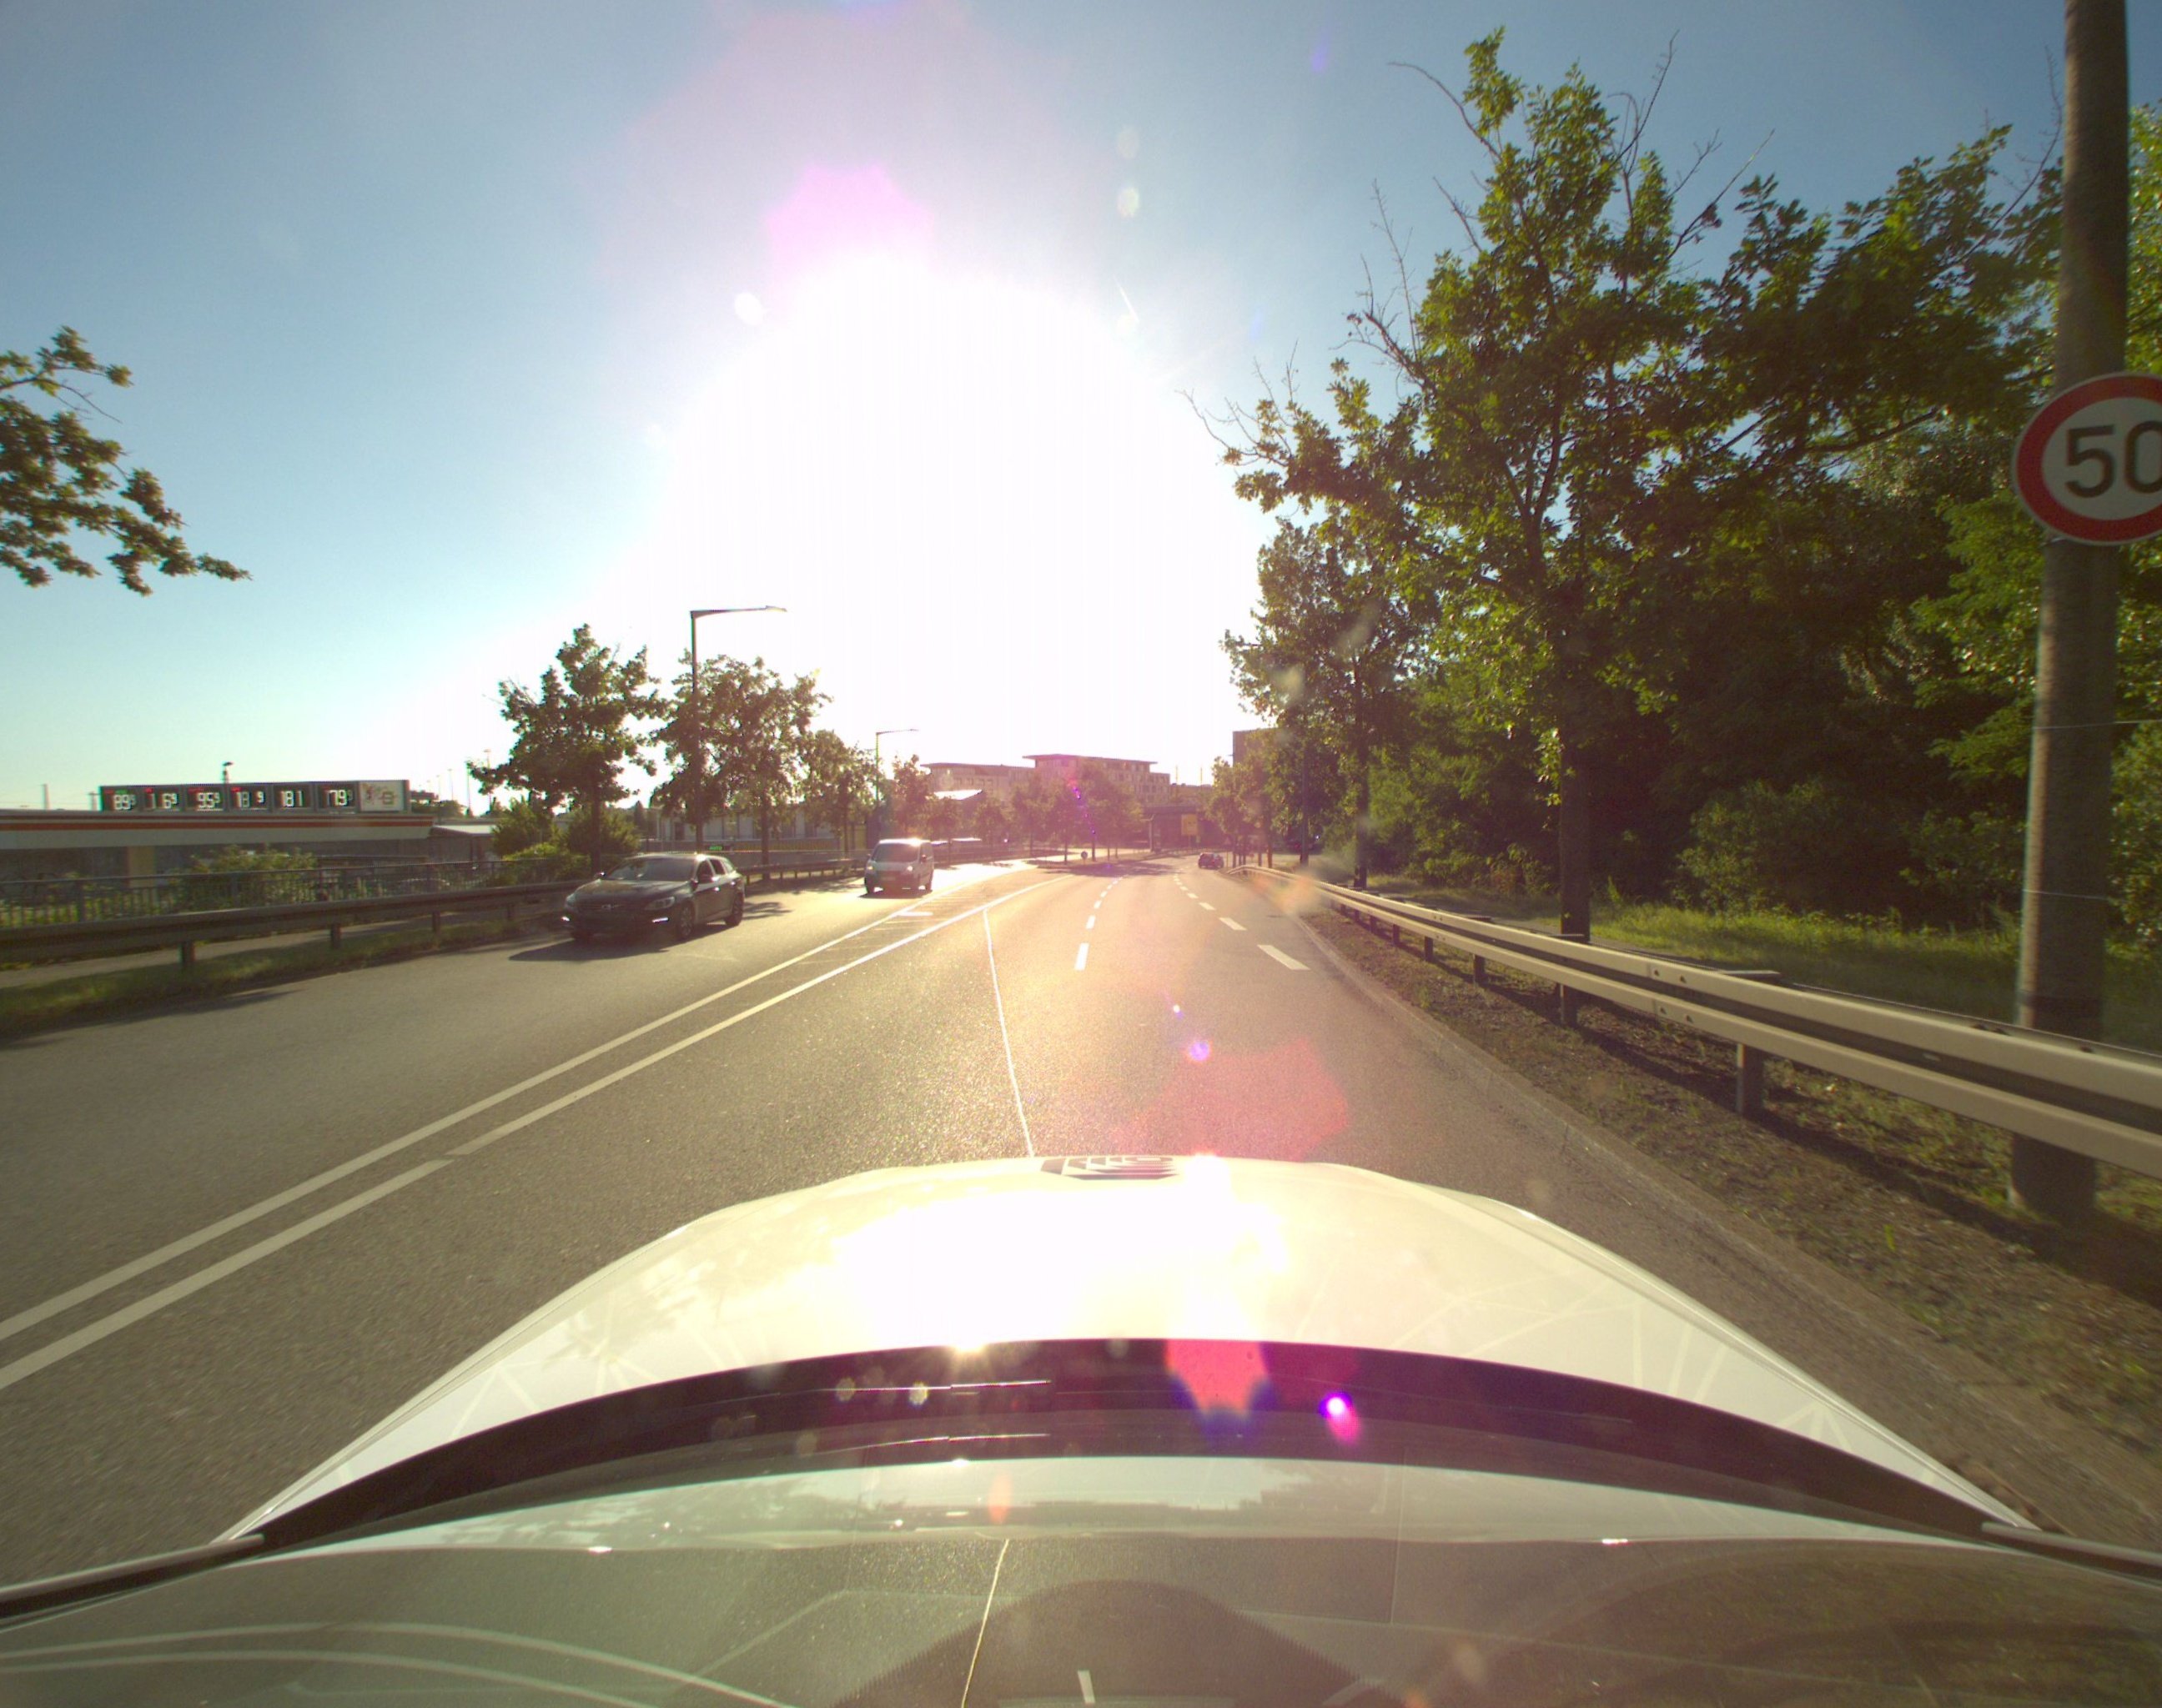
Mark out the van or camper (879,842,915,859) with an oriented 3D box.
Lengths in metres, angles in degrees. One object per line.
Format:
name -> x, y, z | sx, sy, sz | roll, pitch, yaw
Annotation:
van or camper -> -21.152, -0.434, 93.525 | 4.177, 1.925, 2.012 | 0, 0, 44

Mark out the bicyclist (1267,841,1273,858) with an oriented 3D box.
bicyclist -> 20.470, -0.492, 88.232 | 0.677, 1.906, 0.836 | 1, 2, 14

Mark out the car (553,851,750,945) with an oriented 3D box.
car -> -7.682, 0.685, 15.090 | 1.771, 1.465, 4.373 | 0, 0, -7

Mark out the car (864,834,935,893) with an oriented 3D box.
car -> -6.666, 0.313, 30.426 | 1.875, 2.013, 5.251 | 0, 0, -5

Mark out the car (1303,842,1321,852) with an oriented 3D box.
car -> 36.810, -1.189, 129.676 | 1.755, 1.495, 3.856 | 0, 1, 33

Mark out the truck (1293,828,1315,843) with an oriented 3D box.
truck -> 39.880, -3.287, 145.450 | 2.008, 2.556, 5.573 | 1, 2, 36

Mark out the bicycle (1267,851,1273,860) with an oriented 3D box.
bicycle -> 20.430, 0.160, 88.118 | 0.574, 0.963, 2.898 | 0, 2, 14

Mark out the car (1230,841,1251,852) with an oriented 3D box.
car -> 22.087, -1.055, 112.468 | 1.566, 1.408, 3.856 | 2, 2, 31

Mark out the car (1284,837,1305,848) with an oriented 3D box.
car -> 32.432, -1.688, 123.469 | 1.724, 1.454, 4.636 | 2, 4, 33

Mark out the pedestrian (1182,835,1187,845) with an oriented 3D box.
pedestrian -> 19.484, -2.595, 152.683 | 0.687, 1.903, 0.669 | 1, 2, 37

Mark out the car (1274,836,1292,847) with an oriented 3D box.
car -> 34.564, -2.101, 139.404 | 1.823, 1.719, 4.025 | -3, 0, 30

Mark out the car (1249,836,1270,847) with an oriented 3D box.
car -> 28.113, -1.986, 128.175 | 1.812, 1.738, 4.490 | 1, 2, 33

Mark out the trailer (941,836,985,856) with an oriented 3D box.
trailer -> -12.372, -0.865, 85.827 | 2.403, 1.969, 6.630 | 0, 1, 13

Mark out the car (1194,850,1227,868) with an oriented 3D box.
car -> 12.277, 0.479, 76.984 | 1.975, 1.508, 4.023 | -3, 0, 25

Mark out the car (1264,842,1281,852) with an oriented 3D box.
car -> 29.184, -1.098, 124.198 | 1.532, 1.423, 3.439 | -3, 1, 30
